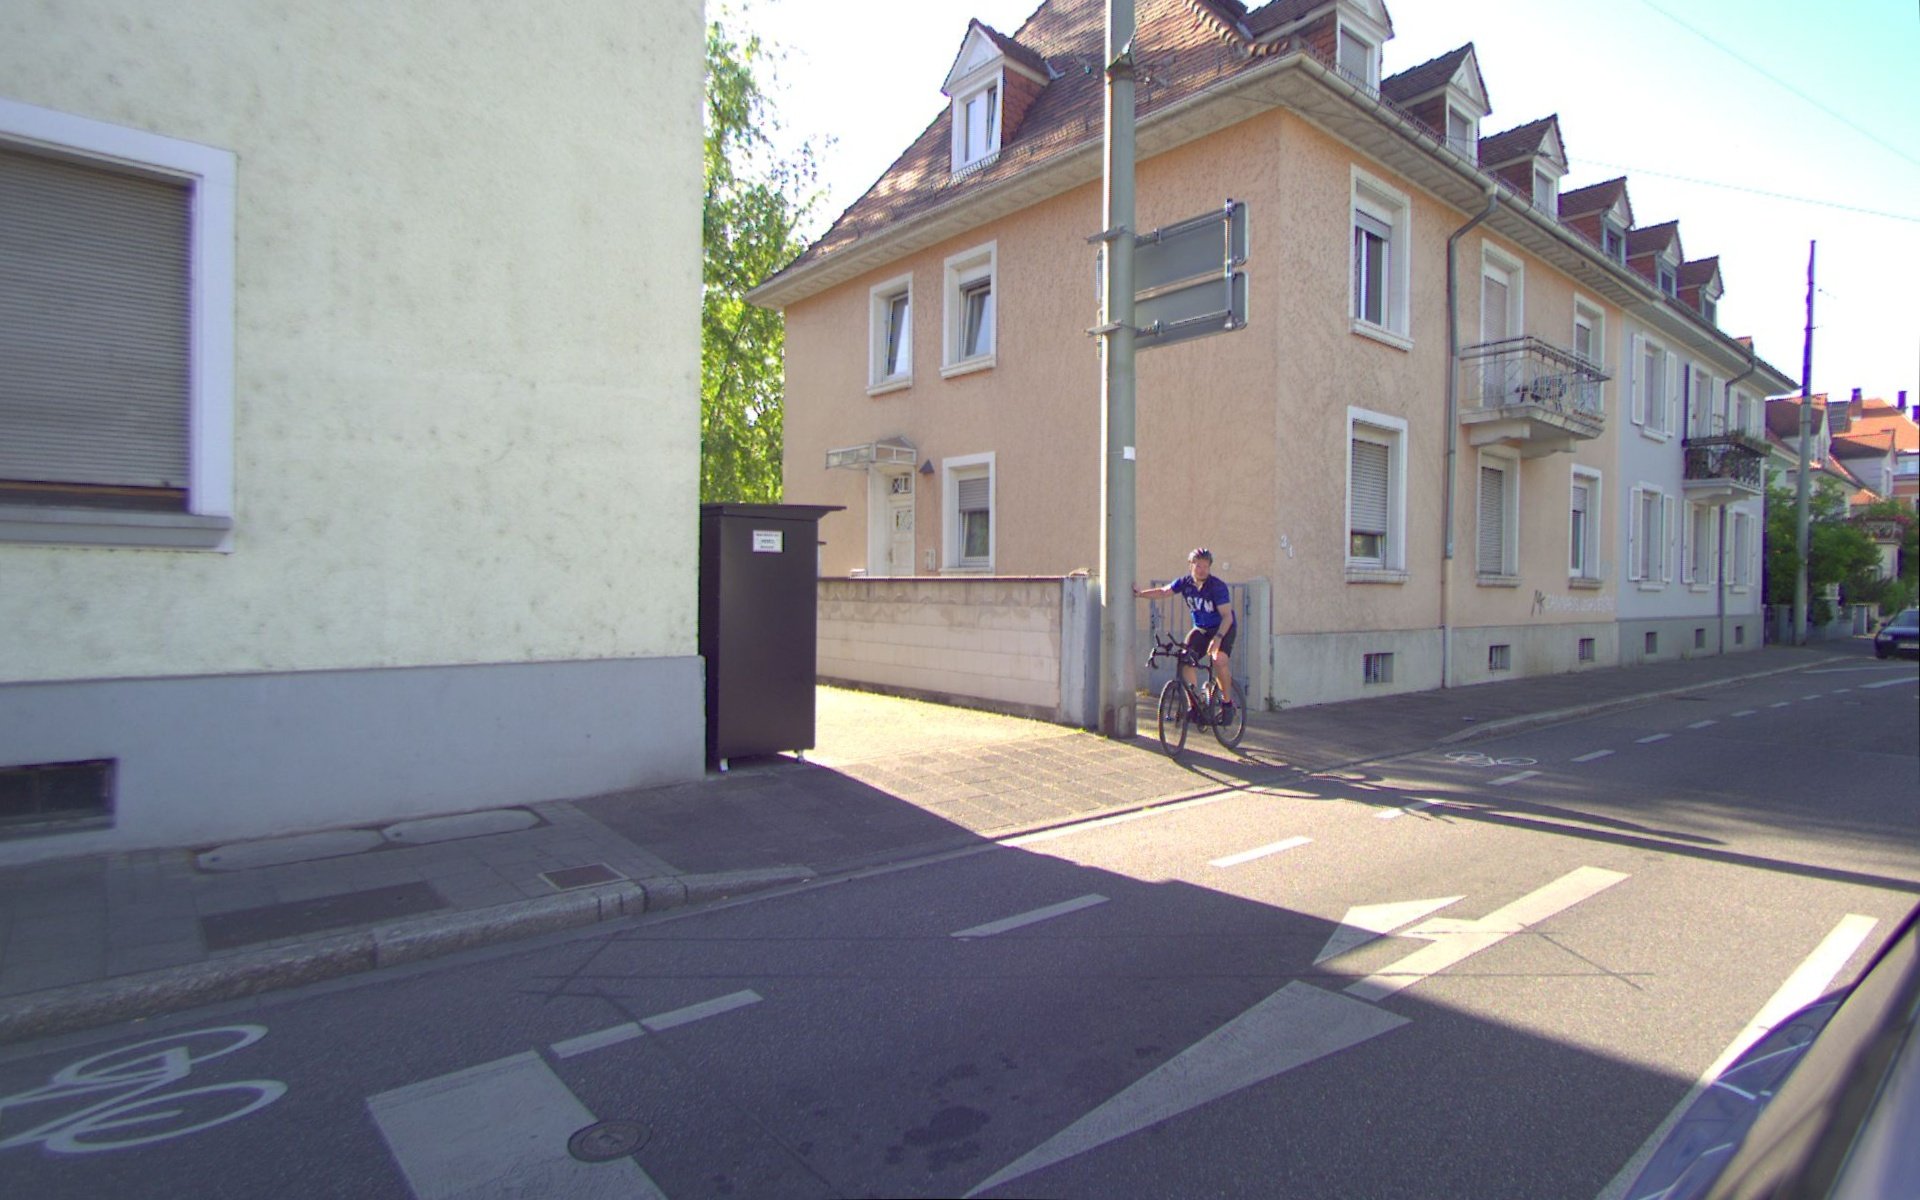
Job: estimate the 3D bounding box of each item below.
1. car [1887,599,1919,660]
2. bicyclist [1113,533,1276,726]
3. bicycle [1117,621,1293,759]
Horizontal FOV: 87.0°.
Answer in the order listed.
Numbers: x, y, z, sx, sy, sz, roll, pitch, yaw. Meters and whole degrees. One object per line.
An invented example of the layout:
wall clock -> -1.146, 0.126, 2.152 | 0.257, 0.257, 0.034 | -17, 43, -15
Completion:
car -> 26.698, 0.759, 27.368 | 3.742, 1.601, 1.696 | 0, -1, -36
bicyclist -> 2.176, 0.235, 9.434 | 0.870, 1.627, 1.052 | 1, 5, -41
bicycle -> 2.278, 0.776, 9.285 | 1.744, 1.081, 0.592 | 0, 5, -41
